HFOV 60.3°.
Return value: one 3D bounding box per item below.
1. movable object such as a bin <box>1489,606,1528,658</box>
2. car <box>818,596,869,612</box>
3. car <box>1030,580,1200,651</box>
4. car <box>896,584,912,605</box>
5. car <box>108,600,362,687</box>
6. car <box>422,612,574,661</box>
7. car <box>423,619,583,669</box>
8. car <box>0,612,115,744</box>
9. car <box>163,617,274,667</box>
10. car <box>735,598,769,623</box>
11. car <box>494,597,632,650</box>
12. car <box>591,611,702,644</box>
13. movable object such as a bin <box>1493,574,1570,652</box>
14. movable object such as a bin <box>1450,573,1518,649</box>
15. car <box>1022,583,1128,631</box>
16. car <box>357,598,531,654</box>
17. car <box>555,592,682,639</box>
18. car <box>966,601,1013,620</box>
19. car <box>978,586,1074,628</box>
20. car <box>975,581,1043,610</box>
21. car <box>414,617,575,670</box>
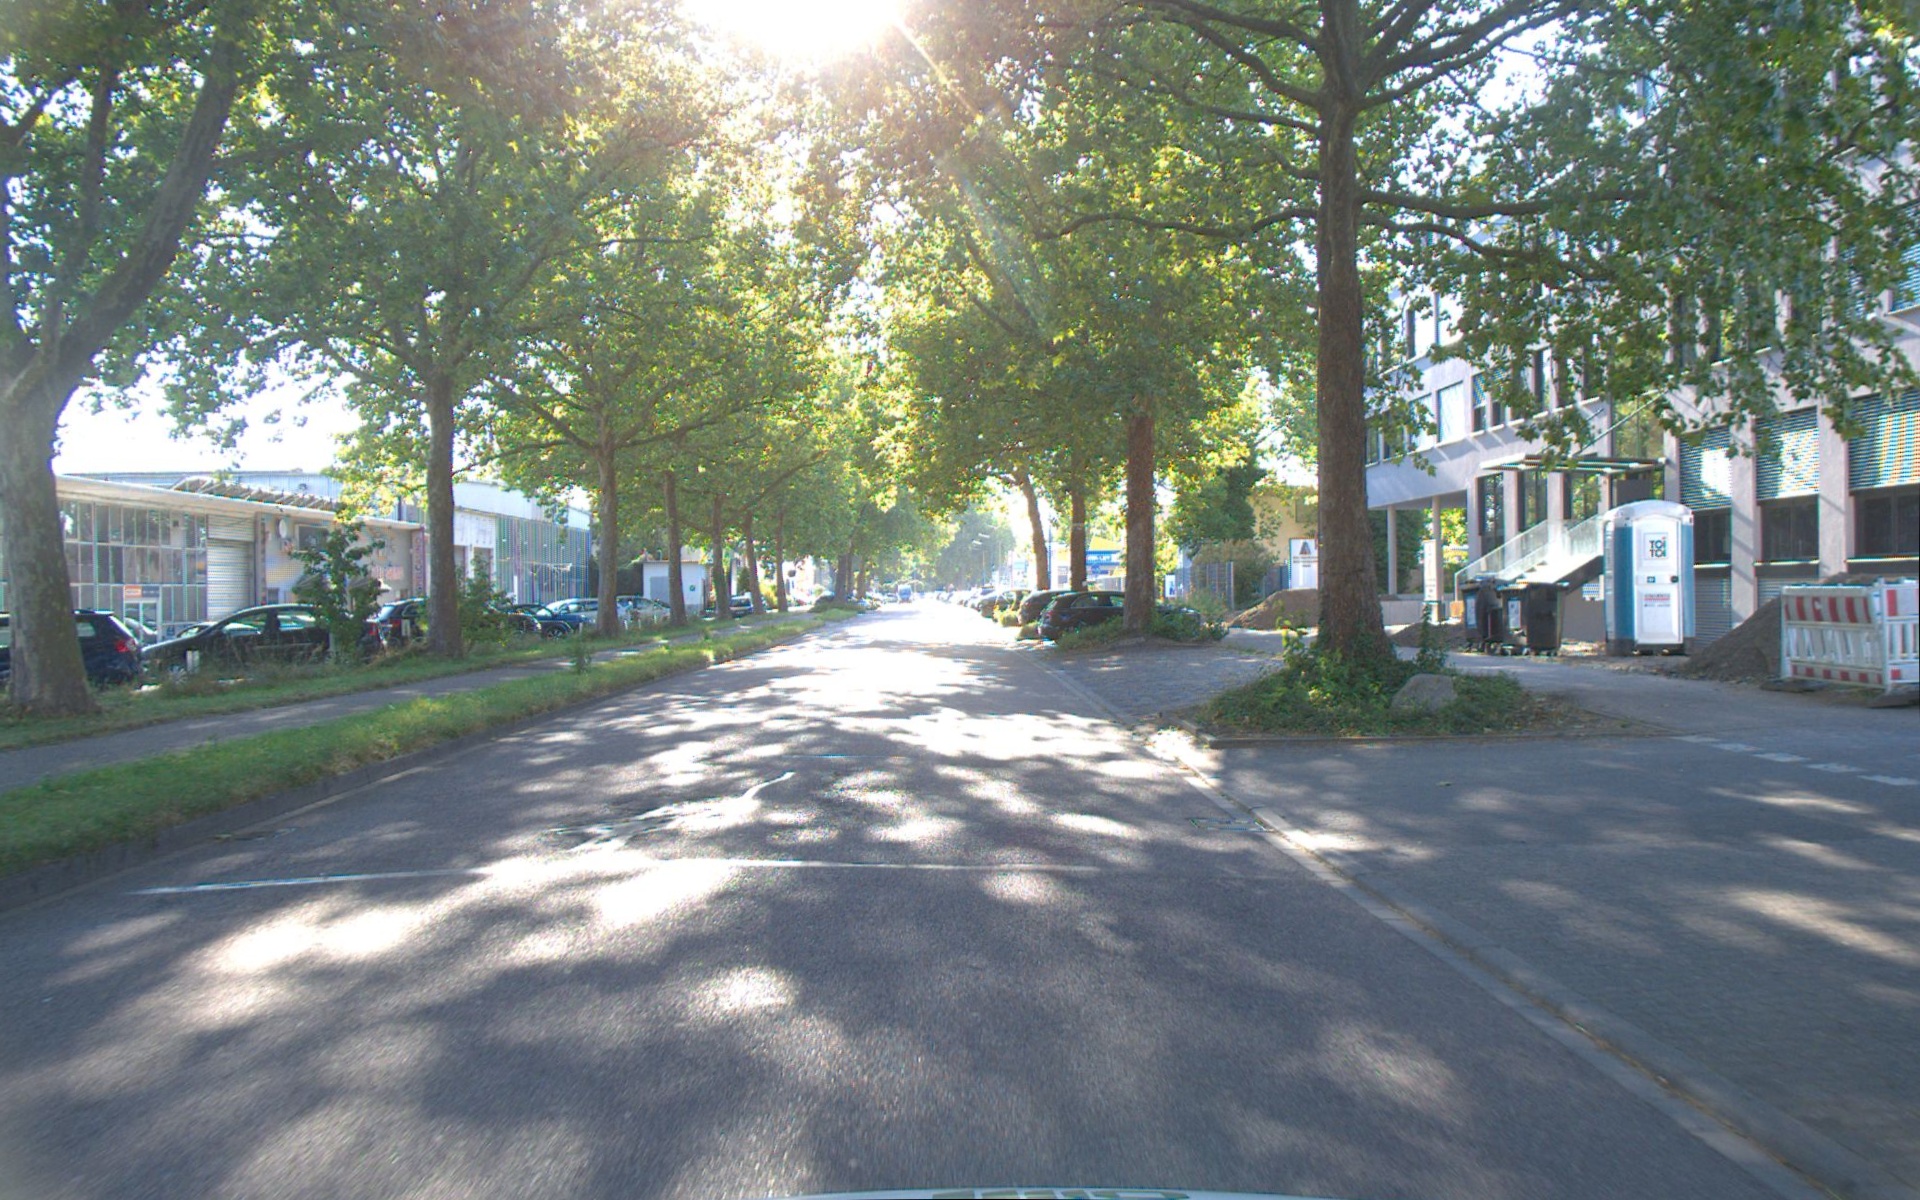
[{"bbox_3d":[9.850,0.572,29.731,0.482,0.916,0.599,1,-1,-2],"label":"movable object such as a bin"},{"bbox_3d":[-10.478,0.342,149.270,4.507,1.447,1.999,0,1,-2],"label":"car"},{"bbox_3d":[4.095,0.407,44.164,4.200,1.511,1.860,-5,0,-3],"label":"car"},{"bbox_3d":[-7.748,-0.789,230.387,2.084,2.706,7.000,-1,1,-1],"label":"car"},{"bbox_3d":[-13.713,0.818,31.431,4.281,1.557,1.984,1,-1,-25],"label":"car"},{"bbox_3d":[-14.584,1.136,52.333,4.221,1.477,1.972,1,-1,-40],"label":"car"},{"bbox_3d":[-13.668,1.309,49.601,4.221,1.406,1.972,1,-1,-40],"label":"car"},{"bbox_3d":[-14.570,1.061,23.083,4.821,1.790,1.984,1,-1,-25],"label":"car"},{"bbox_3d":[-22.146,1.240,49.367,3.230,1.409,1.548,0,-1,34],"label":"car"},{"bbox_3d":[-13.381,0.690,106.535,1.956,1.393,3.916,-5,0,-6],"label":"car"},{"bbox_3d":[-13.522,0.792,56.553,1.965,1.729,4.237,0,-1,42],"label":"car"},{"bbox_3d":[-13.711,1.185,72.457,4.448,1.328,1.969,-1,1,-43],"label":"car"},{"bbox_3d":[9.677,0.220,28.066,0.732,1.286,1.611,1,-1,-1],"label":"movable object such as a bin"},{"bbox_3d":[9.763,0.202,30.854,0.732,1.374,1.620,1,-1,-1],"label":"movable object such as a bin"},{"bbox_3d":[4.293,0.254,62.116,3.710,1.512,1.860,-4,0,-3],"label":"car"},{"bbox_3d":[-14.327,0.729,46.008,4.221,1.477,1.972,1,-1,-40],"label":"car"},{"bbox_3d":[-12.469,0.589,60.581,1.964,1.658,4.238,0,-1,41],"label":"car"},{"bbox_3d":[2.874,1.061,163.257,4.507,1.607,2.000,-4,-1,1],"label":"car"},{"bbox_3d":[3.237,0.350,81.616,4.481,1.745,1.941,-3,0,-5],"label":"car"},{"bbox_3d":[3.432,-0.329,116.216,4.533,1.741,1.999,-4,0,-3],"label":"car"},{"bbox_3d":[-13.875,1.282,49.430,4.221,1.477,1.972,1,-1,-40],"label":"car"}]
